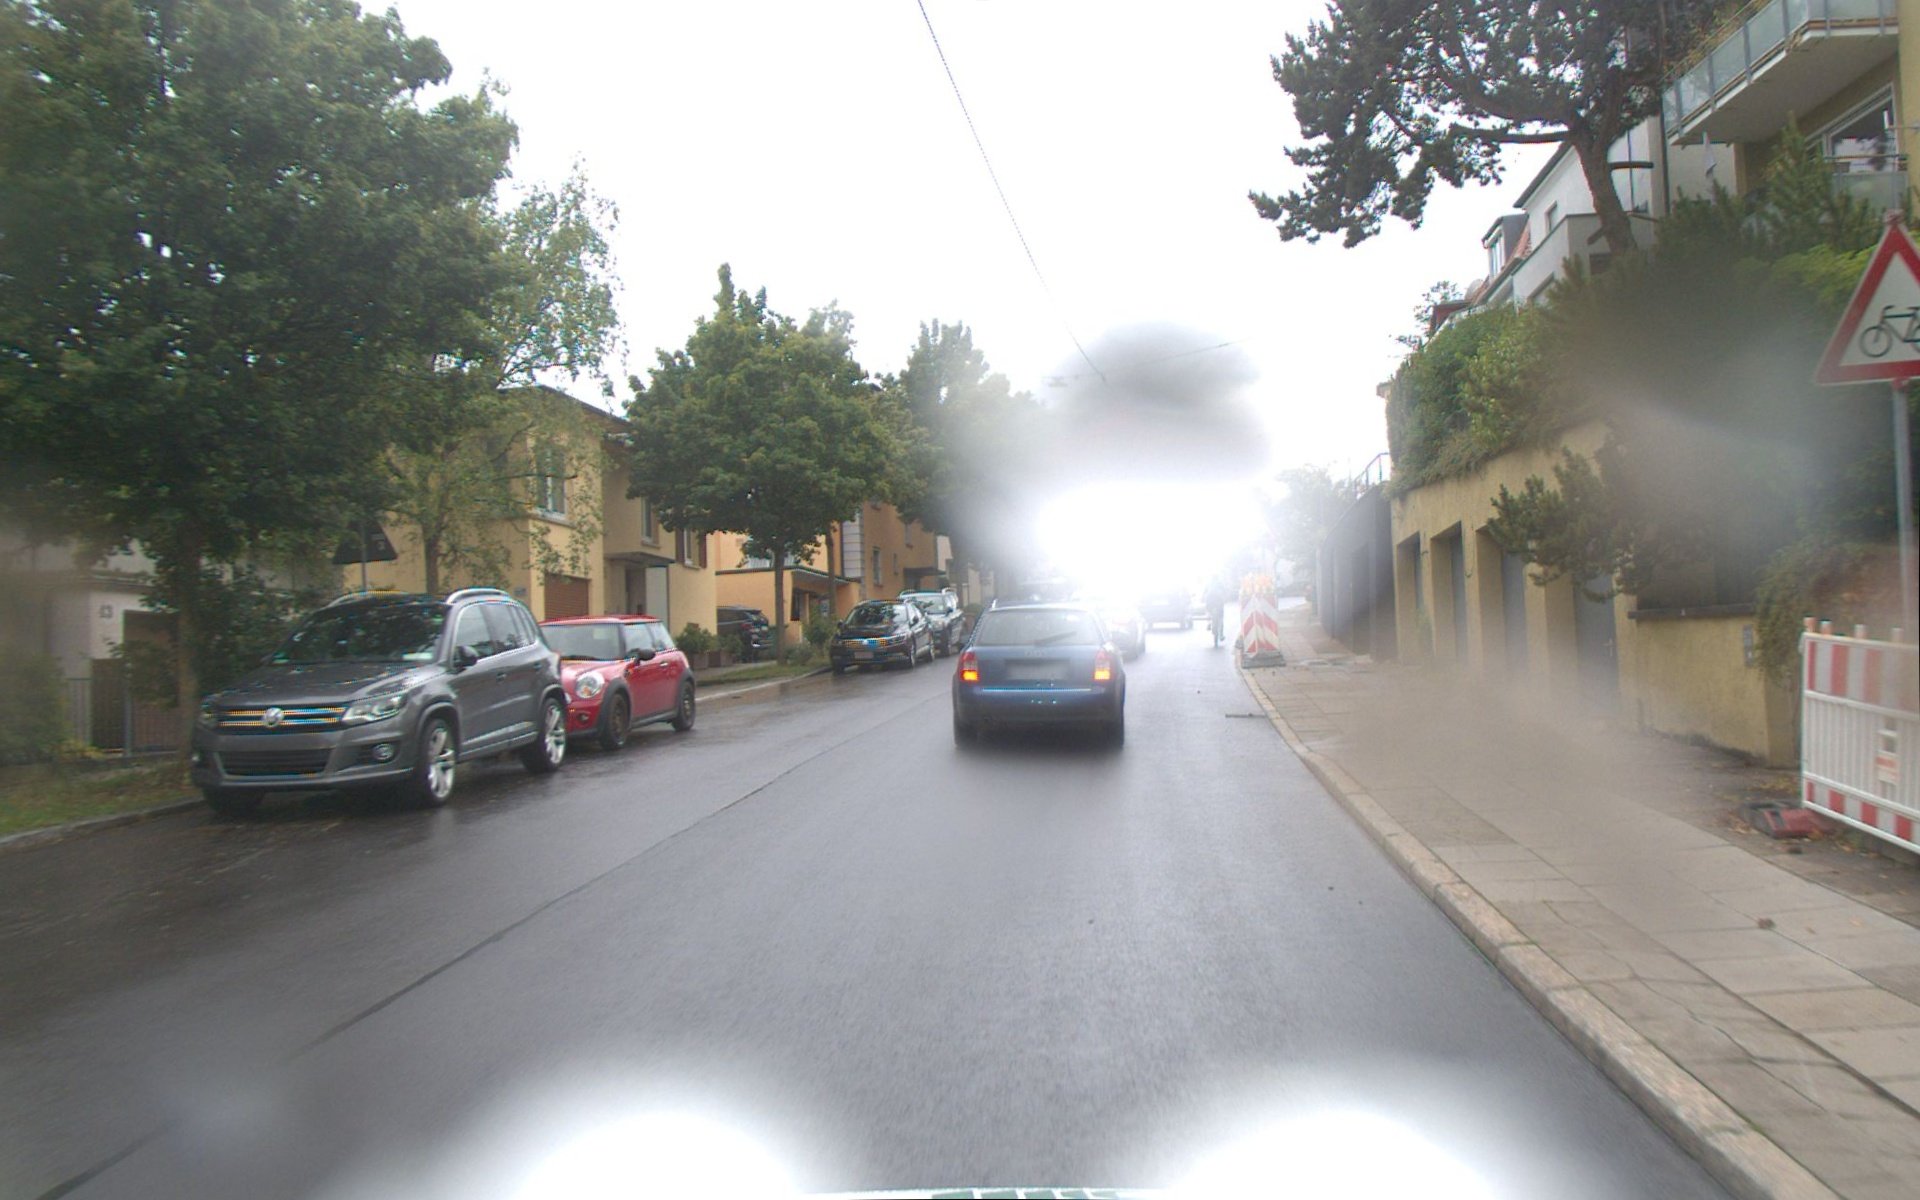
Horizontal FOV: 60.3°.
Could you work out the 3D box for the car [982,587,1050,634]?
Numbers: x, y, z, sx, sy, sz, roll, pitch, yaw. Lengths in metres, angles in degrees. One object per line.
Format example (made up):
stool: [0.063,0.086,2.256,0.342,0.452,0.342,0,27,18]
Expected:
car: [2.043,0.347,59.187,1.730,1.461,4.351,-4,0,11]

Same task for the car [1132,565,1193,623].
car: [6.909,-0.246,56.201,1.696,1.799,4.240,0,2,12]

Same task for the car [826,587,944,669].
car: [-1.602,0.576,37.112,1.731,1.561,4.609,-4,0,8]

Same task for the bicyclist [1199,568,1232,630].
bicyclist: [6.353,-0.032,41.062,0.709,1.498,0.887,-2,0,12]

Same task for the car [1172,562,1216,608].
car: [9.932,-0.670,69.945,1.696,1.799,4.240,0,2,10]

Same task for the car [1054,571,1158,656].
car: [3.304,0.249,36.817,1.933,1.663,4.240,0,2,10]

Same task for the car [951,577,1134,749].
car: [0.937,0.564,17.422,1.697,1.492,4.003,0,2,5]

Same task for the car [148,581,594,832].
car: [-4.659,0.758,13.880,1.763,1.698,4.429,-3,0,5]

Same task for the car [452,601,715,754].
car: [-4.158,0.798,18.892,1.646,1.497,3.868,-3,0,7]

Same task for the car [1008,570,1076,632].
car: [3.235,0.001,64.170,1.754,2.084,4.786,-6,0,12]

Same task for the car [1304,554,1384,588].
car: [20.369,-1.546,87.665,3.904,1.492,1.740,-4,1,19]

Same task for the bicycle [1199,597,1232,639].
bicycle: [6.354,0.429,41.024,0.714,0.981,1.672,-1,0,12]

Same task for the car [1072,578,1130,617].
car: [6.592,-0.114,76.972,1.731,1.655,4.693,-4,-1,16]

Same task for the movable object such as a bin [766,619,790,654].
movable object such as a bin: [-5.532,1.100,50.368,0.574,1.041,0.586,-1,0,8]

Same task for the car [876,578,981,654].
car: [-0.754,0.368,42.594,1.731,1.662,4.113,-6,0,11]

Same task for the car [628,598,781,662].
car: [-7.429,0.858,48.276,3.966,1.675,1.865,-2,0,11]
